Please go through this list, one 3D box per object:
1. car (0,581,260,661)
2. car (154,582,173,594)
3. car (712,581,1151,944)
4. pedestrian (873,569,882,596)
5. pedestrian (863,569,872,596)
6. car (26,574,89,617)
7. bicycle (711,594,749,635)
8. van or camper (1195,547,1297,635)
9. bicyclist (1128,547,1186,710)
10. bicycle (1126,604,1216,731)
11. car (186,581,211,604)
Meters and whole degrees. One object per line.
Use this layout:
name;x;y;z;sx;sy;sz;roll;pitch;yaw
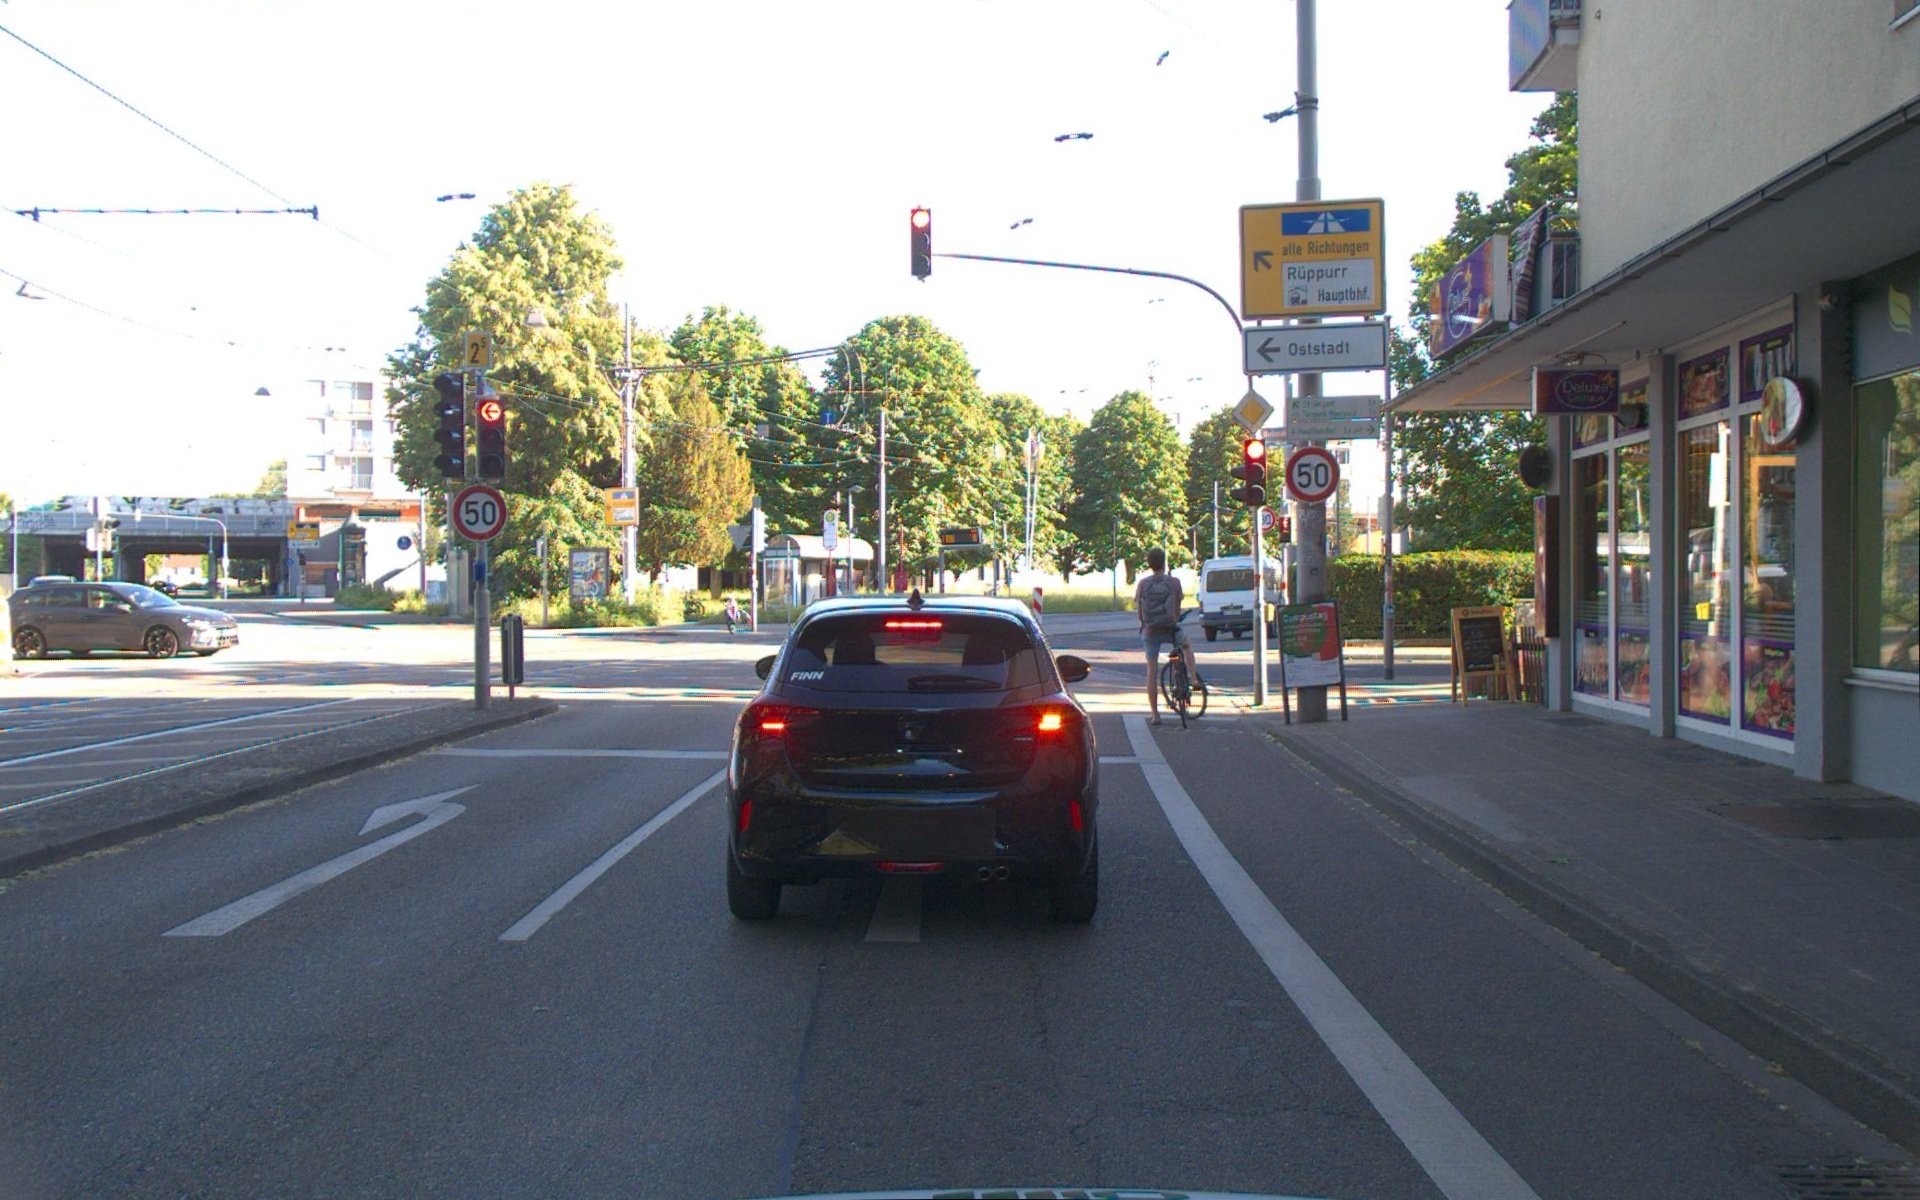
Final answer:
car;-16.421;0.386;32.354;4.626;1.499;1.941;0;1;4
car;-83.451;-1.232;173.367;1.562;1.282;3.394;-1;1;-30
car;-0.143;0.649;8.802;1.803;1.487;3.983;0;1;-1
pedestrian;-5.887;-1.269;118.490;0.592;1.904;0.519;1;-1;-7
pedestrian;-6.705;-1.279;119.332;0.592;1.904;0.519;1;-1;-7
car;-35.873;-0.181;65.807;1.860;1.613;3.809;1;0;-24
bicycle;-6.413;0.392;46.219;0.780;1.083;2.184;0;1;-1
van or camper;8.093;-0.227;46.488;1.987;2.351;4.540;1;0;20
bicyclist;2.124;0.295;17.786;0.522;1.722;0.568;0;0;16
bicycle;2.309;0.690;17.893;0.737;1.256;2.017;0;1;14
car;-59.251;-0.578;128.776;1.732;1.713;3.712;1;0;-25
